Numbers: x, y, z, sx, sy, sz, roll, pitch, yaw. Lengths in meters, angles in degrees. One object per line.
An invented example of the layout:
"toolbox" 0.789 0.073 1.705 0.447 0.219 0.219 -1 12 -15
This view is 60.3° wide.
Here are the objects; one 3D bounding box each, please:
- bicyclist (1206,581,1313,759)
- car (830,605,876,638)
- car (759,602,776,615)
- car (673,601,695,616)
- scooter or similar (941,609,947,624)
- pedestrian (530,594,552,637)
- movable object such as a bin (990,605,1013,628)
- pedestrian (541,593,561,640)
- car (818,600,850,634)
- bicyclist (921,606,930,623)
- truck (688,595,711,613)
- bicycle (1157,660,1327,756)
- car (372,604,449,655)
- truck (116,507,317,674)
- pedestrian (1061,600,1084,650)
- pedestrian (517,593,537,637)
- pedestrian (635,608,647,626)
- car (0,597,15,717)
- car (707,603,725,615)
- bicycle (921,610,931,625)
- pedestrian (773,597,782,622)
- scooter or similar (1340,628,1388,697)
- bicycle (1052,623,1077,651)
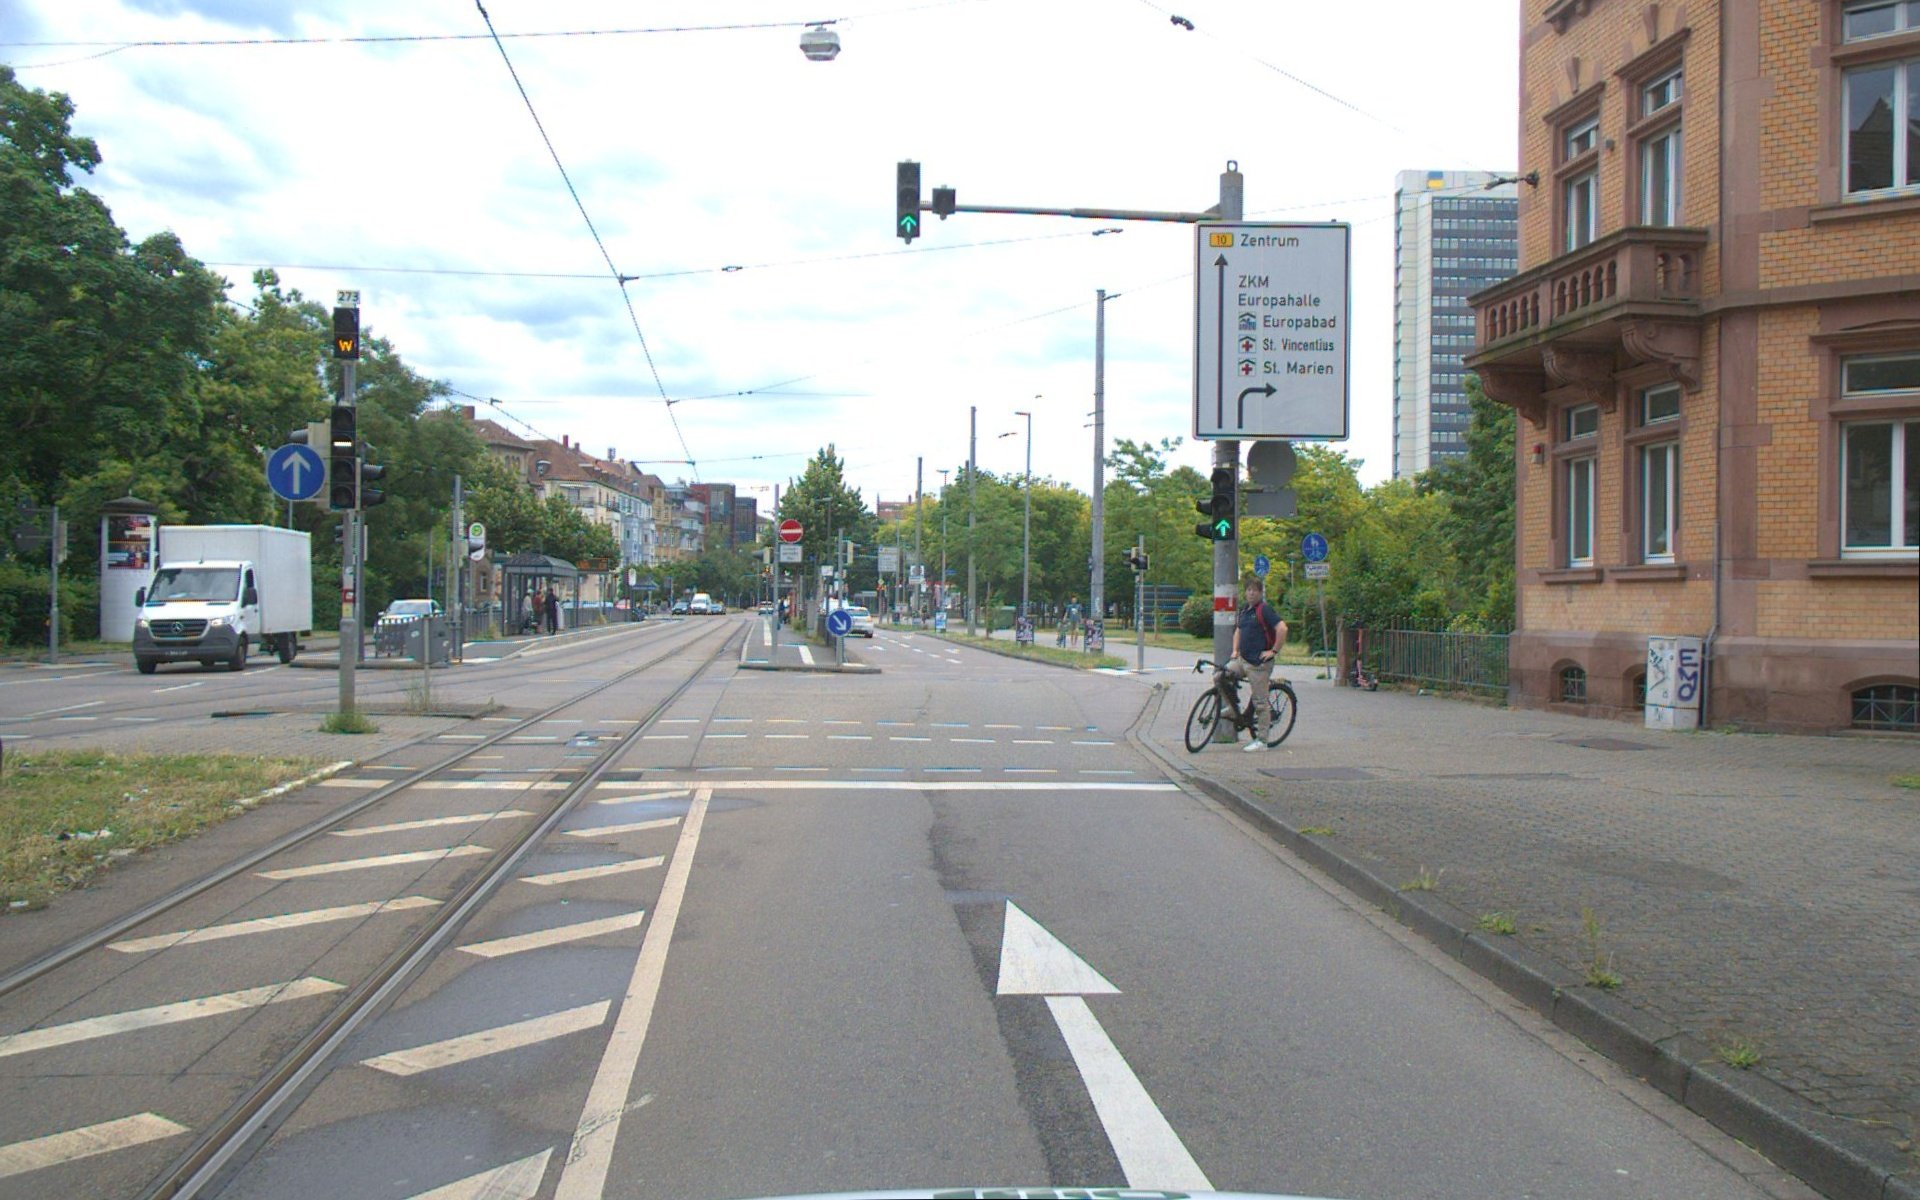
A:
"bicyclist" 3.171 0.723 17.522 0.675 1.827 0.879 1 -1 -38
"car" -5.161 1.015 79.331 1.750 1.498 4.000 1 0 -11
"car" -22.219 0.981 190.874 1.736 1.519 3.882 1 -1 -5
"car" -29.936 0.932 179.249 1.734 1.519 3.886 1 -1 -1
"scooter or similar" -1.229 1.296 129.476 0.368 1.161 1.200 0 0 4
"pedestrian" -16.662 0.615 65.756 0.754 1.689 1.022 0 0 -10
"movable object such as a bin" 2.590 1.057 103.570 1.257 1.414 1.157 1 -1 -6
"pedestrian" -15.433 0.615 62.390 0.688 1.745 0.696 0 -1 -15
"car" -7.716 1.004 101.007 1.749 1.997 4.375 1 0 -7
"bicyclist" -2.872 1.213 138.393 0.665 1.404 0.728 0 0 4
"truck" -29.974 0.454 190.306 1.751 2.068 5.394 0 -1 -1
"bicycle" 3.030 1.130 17.692 1.850 0.940 0.785 1 0 -40
"car" -18.747 0.984 56.605 1.737 1.668 4.528 1 -1 -9
"truck" -15.809 -0.147 35.691 2.145 3.213 7.314 1 -1 -10
"pedestrian" 4.279 0.946 62.957 0.725 1.902 0.681 0 -1 -8
"pedestrian" -16.389 0.583 62.600 0.620 1.652 0.679 0 -1 -8
"pedestrian" -22.841 1.219 118.480 0.849 1.289 0.692 0 0 -9
"car" -13.136 0.723 19.916 1.613 1.561 4.124 1 -1 -8
"car" -30.134 1.128 204.353 1.734 1.519 3.886 1 -1 -1
"bicycle" -2.859 1.465 138.384 0.665 1.175 1.899 0 0 4
"pedestrian" -11.386 0.577 103.305 0.521 1.585 0.570 0 -1 -3
"scooter or similar" 6.952 1.063 28.502 0.369 1.161 1.197 0 0 -9
"bicycle" 3.965 1.405 62.859 0.642 1.020 1.776 0 0 -7
